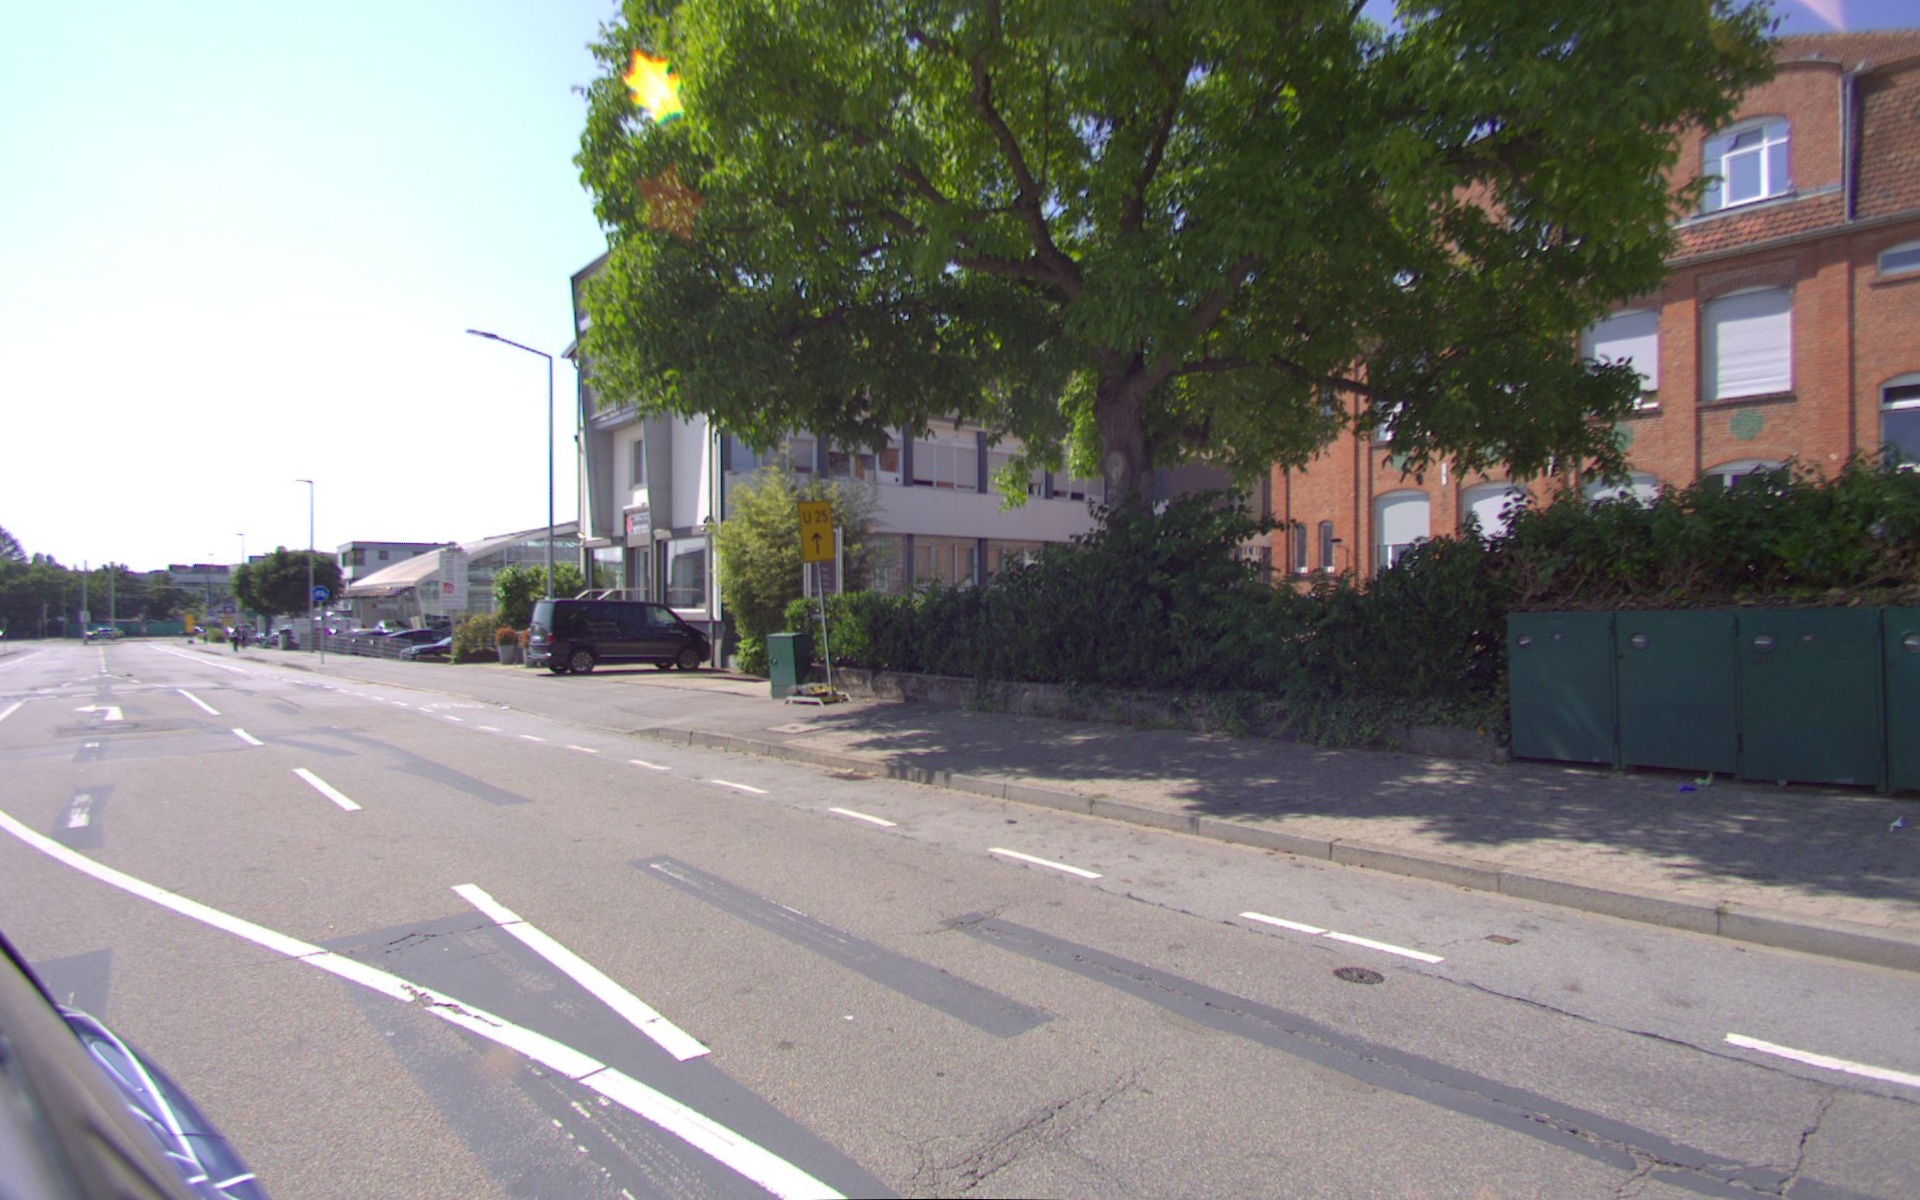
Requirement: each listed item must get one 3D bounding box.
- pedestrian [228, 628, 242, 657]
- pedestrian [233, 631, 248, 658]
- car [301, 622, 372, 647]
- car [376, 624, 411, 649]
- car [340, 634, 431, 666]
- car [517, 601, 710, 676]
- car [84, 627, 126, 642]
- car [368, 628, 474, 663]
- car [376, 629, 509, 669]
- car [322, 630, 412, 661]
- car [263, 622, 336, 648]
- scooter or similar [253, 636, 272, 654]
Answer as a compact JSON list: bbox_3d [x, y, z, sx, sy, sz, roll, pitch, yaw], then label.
[{"bbox_3d":[-48.186,2.814,67.252,0.723,1.882,1.049,0,-2,-35],"label":"pedestrian"},{"bbox_3d":[-51.125,3.171,71.925,0.714,1.862,0.912,0,-2,-44],"label":"pedestrian"},{"bbox_3d":[-43.834,2.435,71.236,1.844,1.562,3.976,-2,-1,18],"label":"car"},{"bbox_3d":[-40.875,2.590,72.991,1.966,1.696,4.011,-1,-1,-32],"label":"car"},{"bbox_3d":[-31.228,2.691,55.076,3.941,1.501,1.861,0,1,-44],"label":"car"},{"bbox_3d":[-9.328,1.021,27.434,4.508,1.880,2.096,1,-2,-40],"label":"car"},{"bbox_3d":[-119.192,4.835,141.056,3.932,1.718,2.006,-3,1,-19],"label":"car"},{"bbox_3d":[-26.511,2.221,49.872,4.246,1.570,1.997,0,-2,-45],"label":"car"},{"bbox_3d":[-22.012,2.051,43.121,4.681,1.492,2.050,0,-1,-42],"label":"car"},{"bbox_3d":[-33.312,2.555,56.922,3.940,1.454,1.861,8,-7,-43],"label":"car"},{"bbox_3d":[-49.087,2.560,75.319,1.841,1.709,4.560,-2,-1,14],"label":"car"},{"bbox_3d":[-49.527,3.209,71.877,1.490,1.257,0.736,-2,-1,42],"label":"scooter or similar"}]
